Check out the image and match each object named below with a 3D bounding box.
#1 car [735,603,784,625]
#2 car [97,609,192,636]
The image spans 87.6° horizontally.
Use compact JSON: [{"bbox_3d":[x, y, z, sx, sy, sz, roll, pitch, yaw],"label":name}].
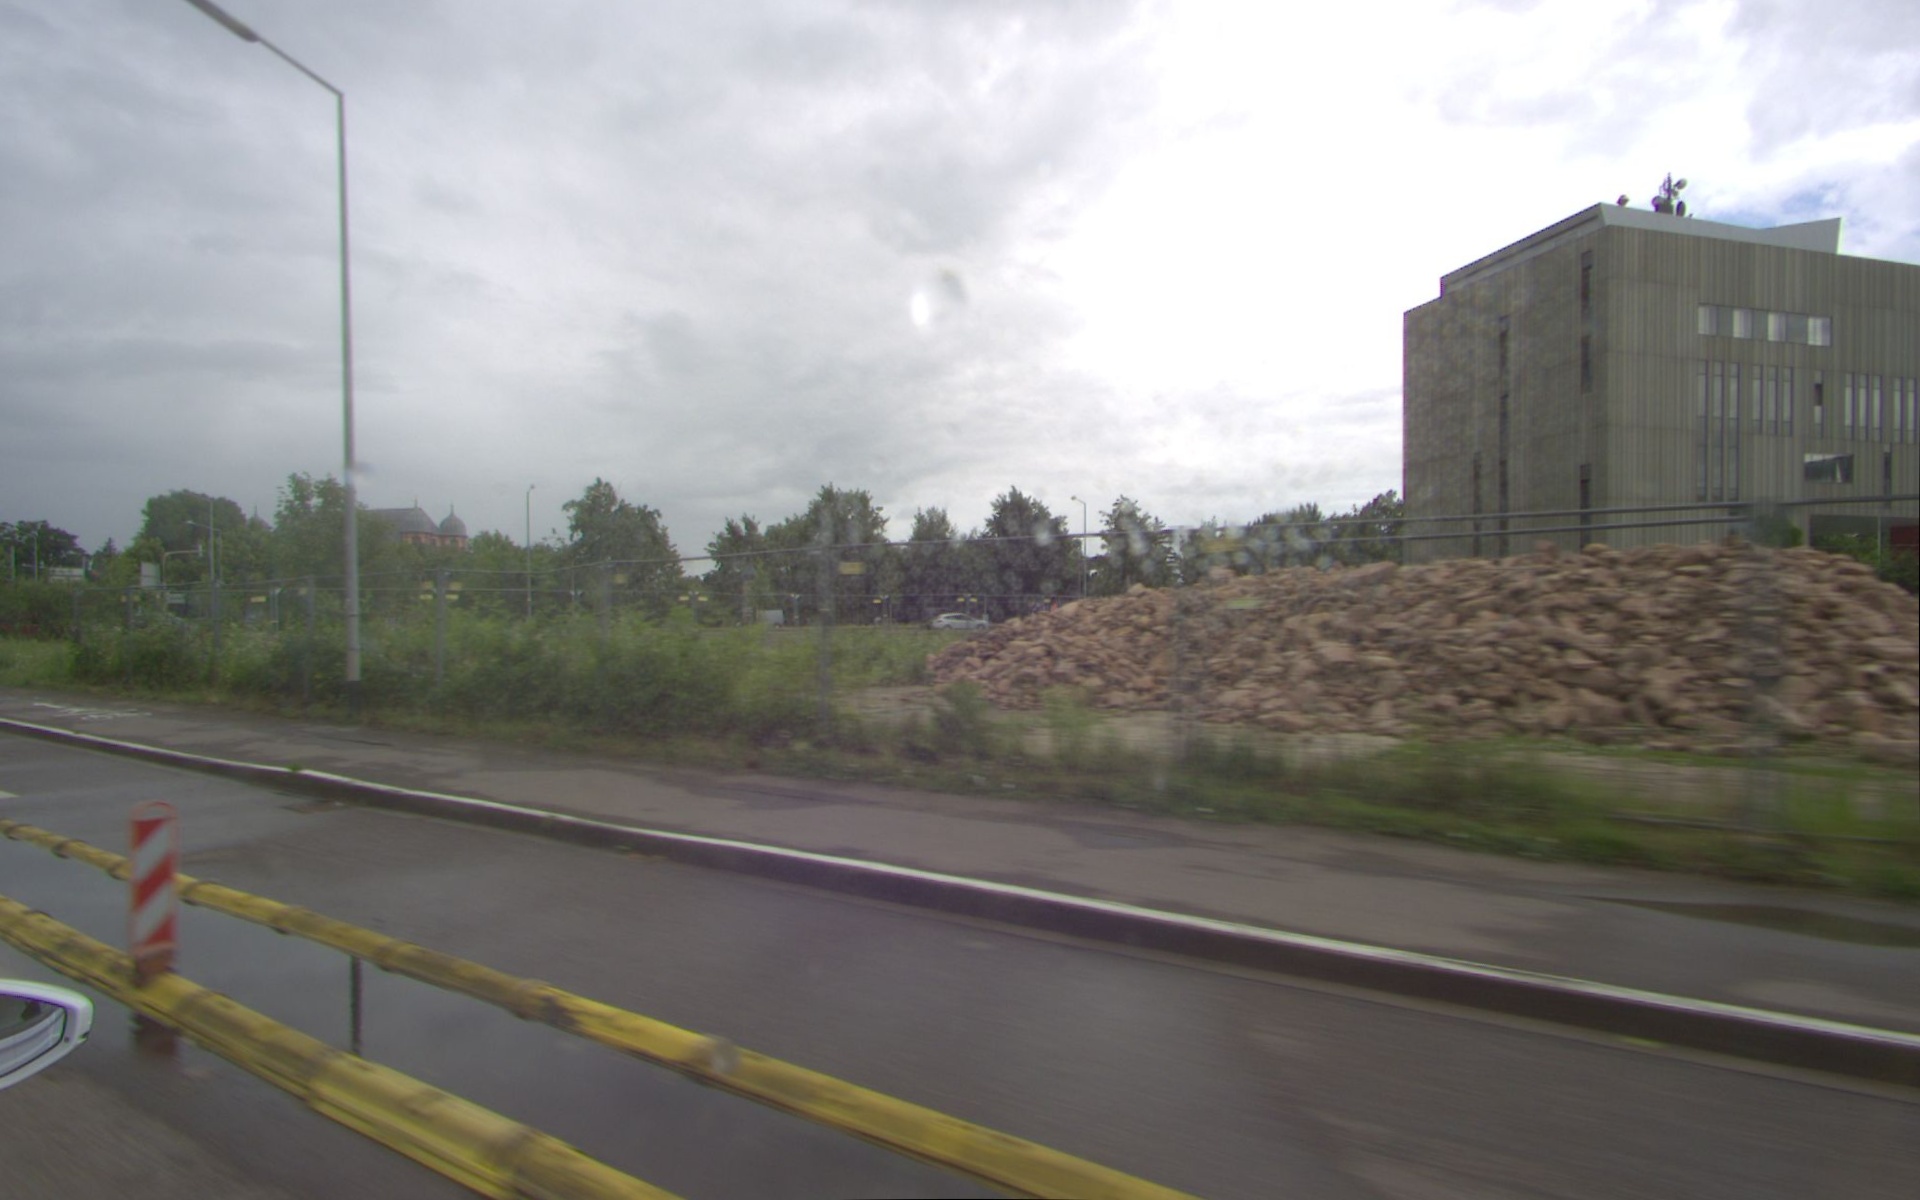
[{"bbox_3d":[-18.531,1.286,92.474,4.395,2.040,1.998,0,0,-12],"label":"car"},{"bbox_3d":[-55.442,1.511,68.166,4.526,1.819,2.112,0,0,-17],"label":"car"}]
